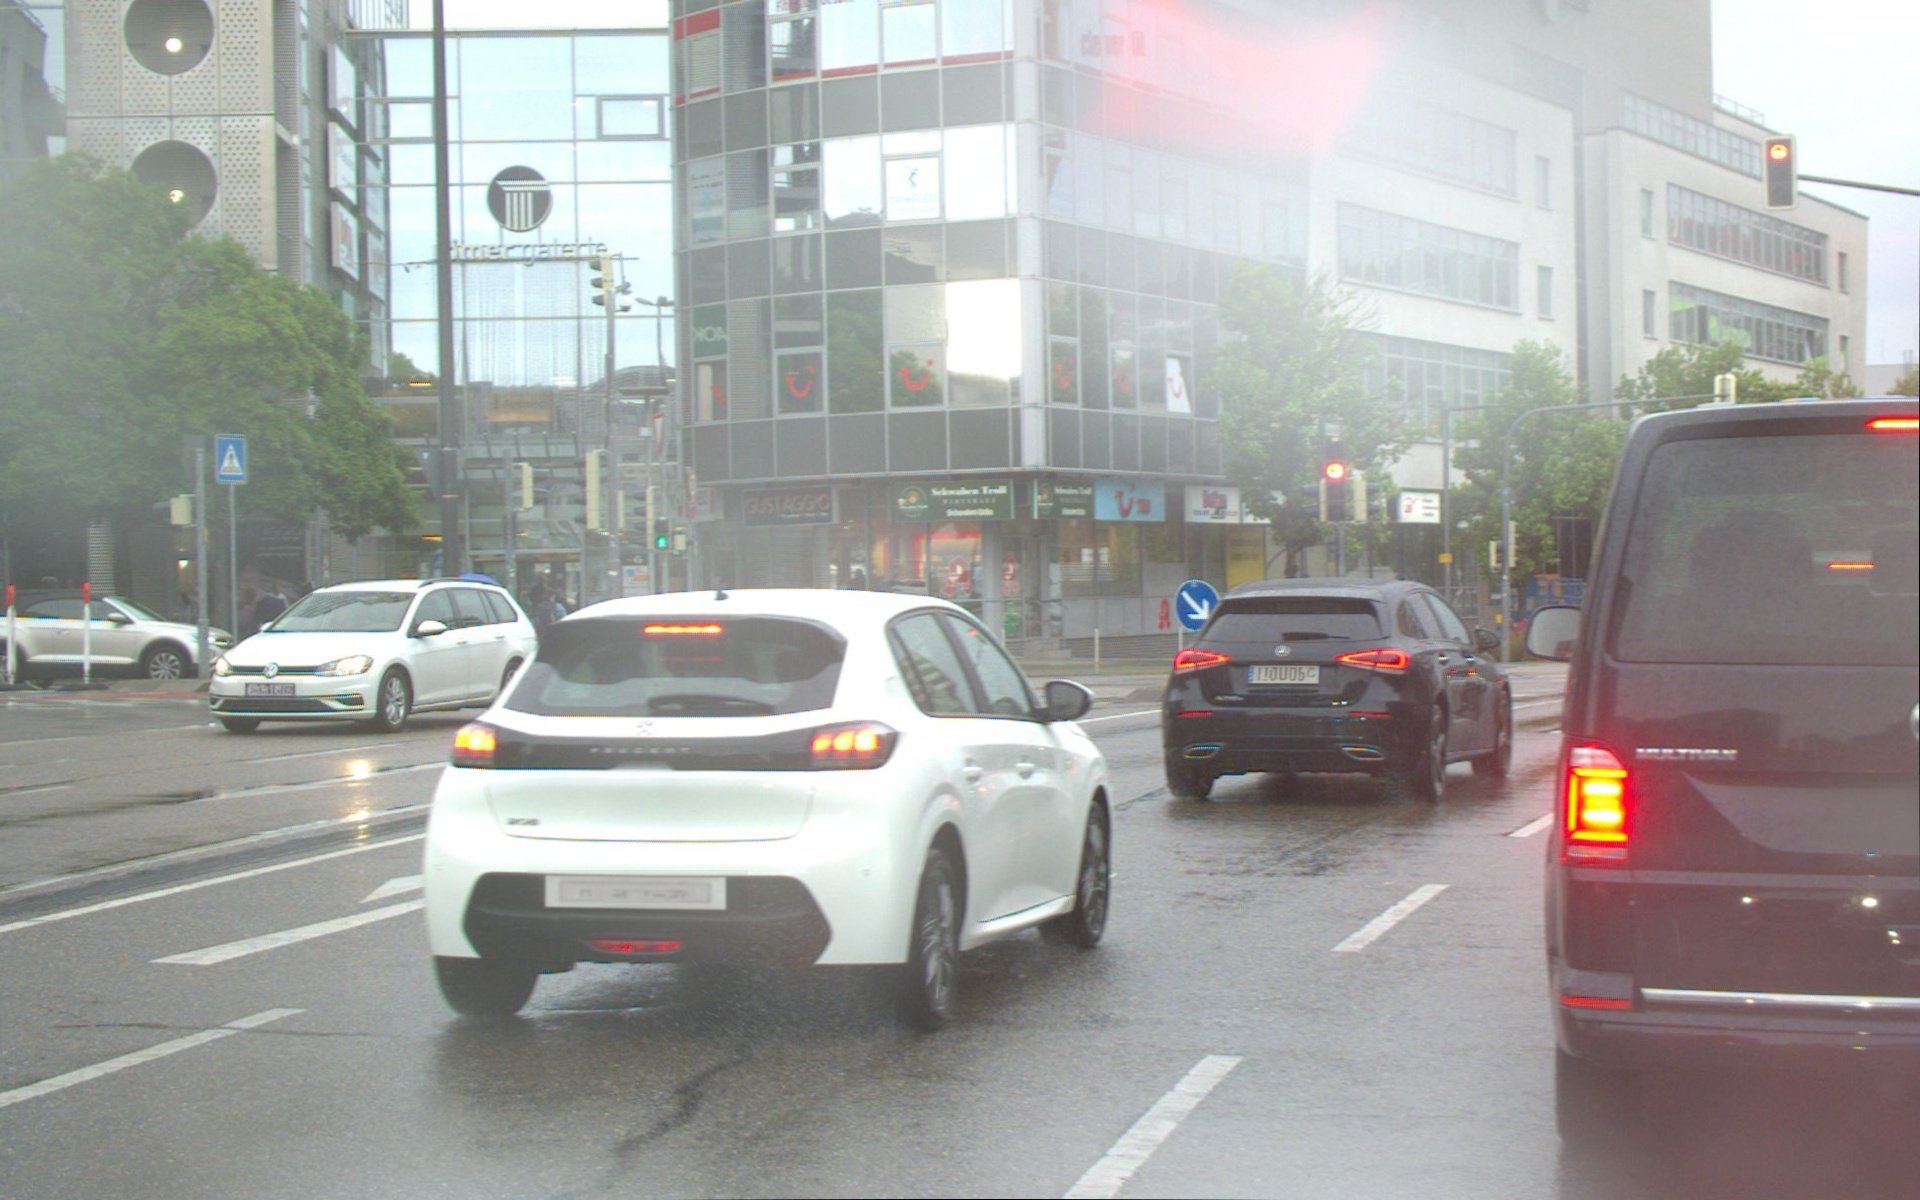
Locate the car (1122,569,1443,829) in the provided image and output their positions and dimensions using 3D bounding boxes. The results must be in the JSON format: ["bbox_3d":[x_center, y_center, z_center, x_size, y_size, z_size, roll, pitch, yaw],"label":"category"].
[{"bbox_3d":[2.282,0.598,23.488,1.816,1.524,3.811,2,2,10],"label":"car"}]

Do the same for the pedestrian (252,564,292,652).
[{"bbox_3d":[-15.780,0.176,78.815,0.762,2.007,0.714,-1,0,0],"label":"pedestrian"}]

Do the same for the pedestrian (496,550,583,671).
[{"bbox_3d":[-6.432,0.158,52.647,0.847,1.813,1.023,-2,0,29],"label":"pedestrian"}]

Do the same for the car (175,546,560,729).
[{"bbox_3d":[-5.748,0.323,33.948,1.887,1.676,4.502,0,0,18],"label":"car"}]

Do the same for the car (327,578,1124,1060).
[{"bbox_3d":[-0.663,0.656,12.569,1.873,1.457,3.871,0,0,13],"label":"car"}]

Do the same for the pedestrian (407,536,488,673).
[{"bbox_3d":[-7.702,0.061,51.592,1.162,2.007,1.329,-1,0,-9],"label":"pedestrian"}]

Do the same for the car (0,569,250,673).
[{"bbox_3d":[-13.466,0.317,54.000,4.192,1.590,1.870,0,1,2],"label":"car"}]

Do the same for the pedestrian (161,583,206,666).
[{"bbox_3d":[-17.610,0.551,77.958,0.751,1.862,0.833,-1,0,-30],"label":"pedestrian"}]

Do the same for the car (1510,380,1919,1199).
[{"bbox_3d":[2.762,0.438,10.051,1.997,1.887,4.584,0,0,13],"label":"car"}]
